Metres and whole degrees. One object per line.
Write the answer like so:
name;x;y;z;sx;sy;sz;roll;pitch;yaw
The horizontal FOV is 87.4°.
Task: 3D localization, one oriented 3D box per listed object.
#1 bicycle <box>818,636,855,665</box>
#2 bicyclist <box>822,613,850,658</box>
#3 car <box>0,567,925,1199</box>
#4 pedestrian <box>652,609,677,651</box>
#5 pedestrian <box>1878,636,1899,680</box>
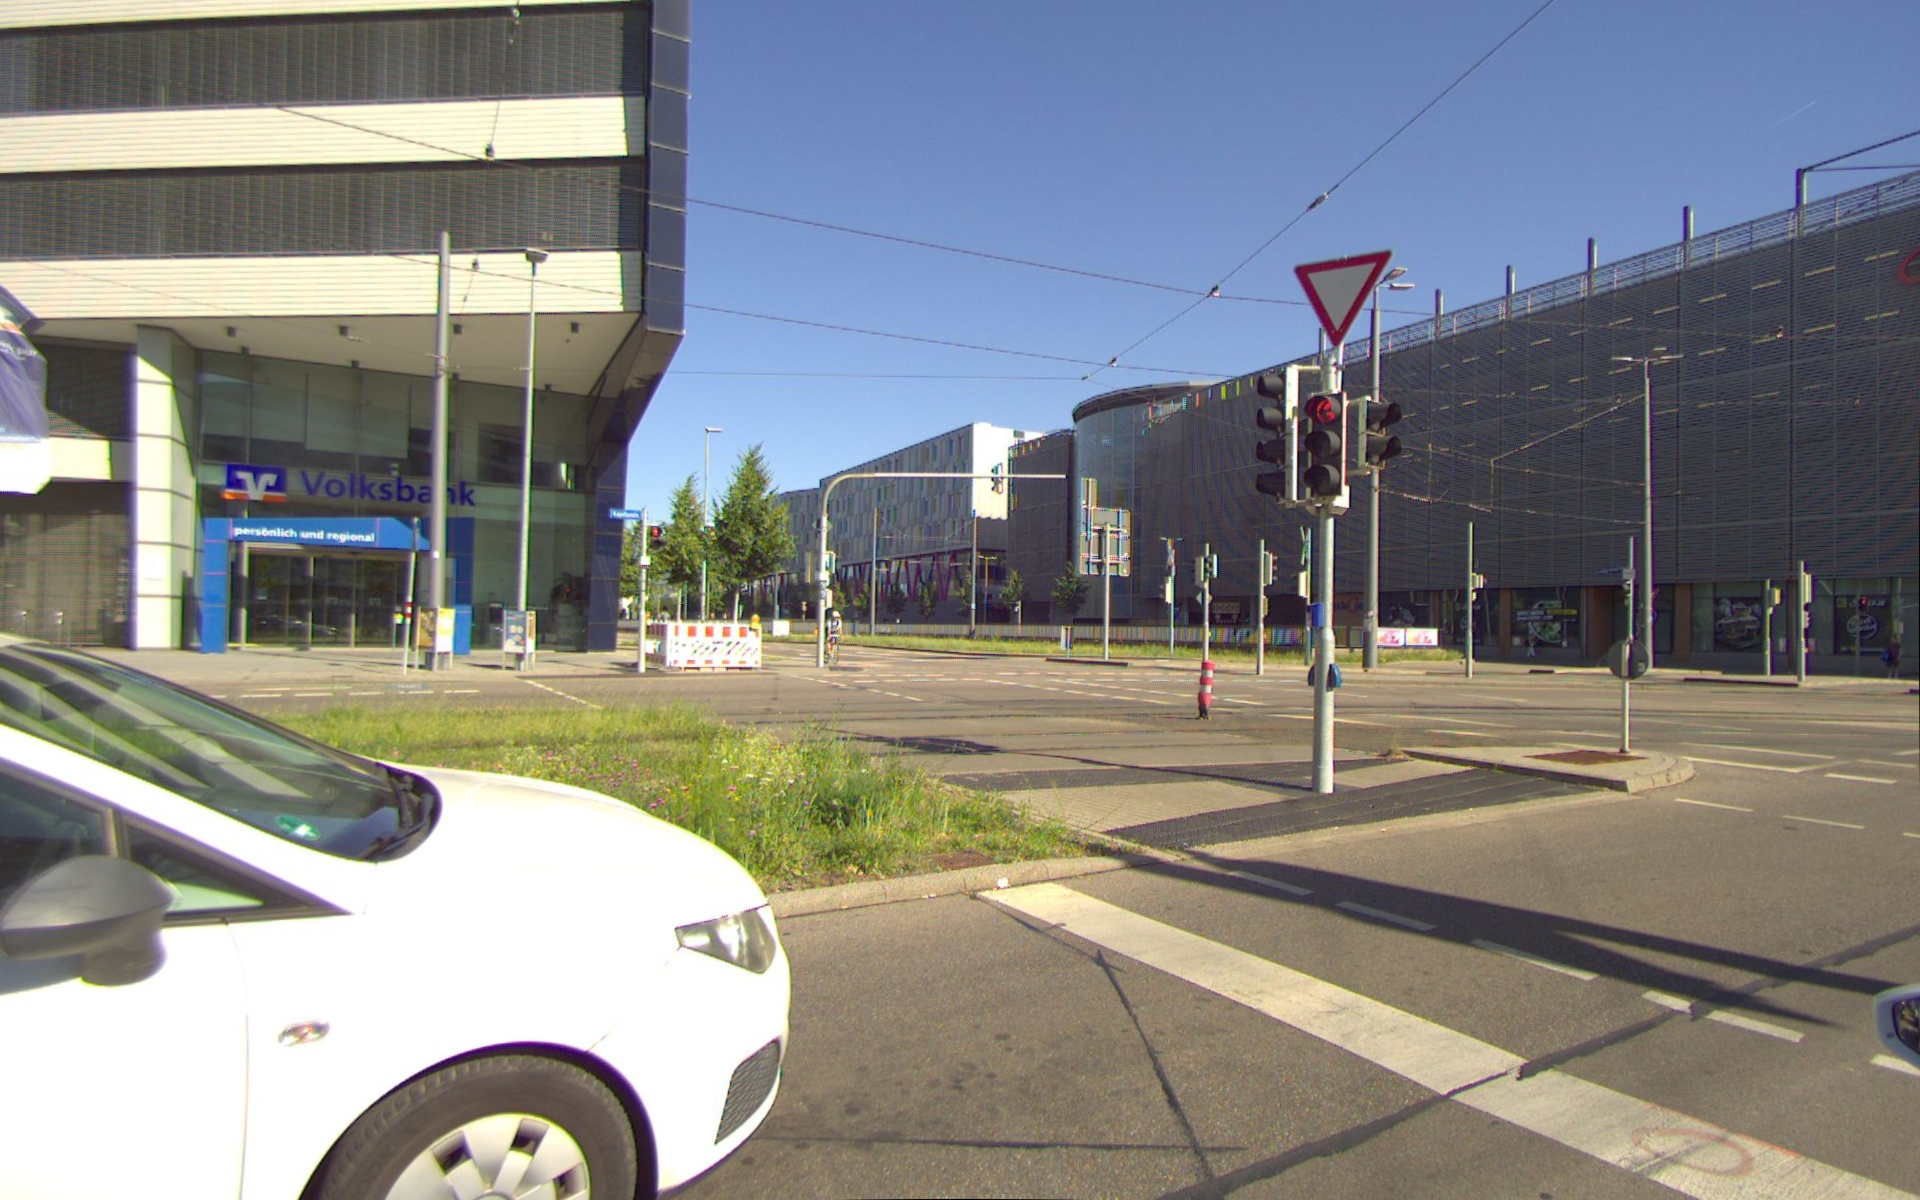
bicycle;-4.017;1.631;32.466;0.758;0.851;2.559;1;-1;-17
bicyclist;-4.020;1.151;32.456;0.750;1.428;0.769;1;-1;-17
car;-2.146;0.672;2.045;3.791;1.450;1.656;2;1;-30
pedestrian;-11.386;1.155;38.685;0.845;1.576;0.610;2;-1;-24
pedestrian;38.693;2.407;41.868;0.616;1.774;0.586;0;-2;42
